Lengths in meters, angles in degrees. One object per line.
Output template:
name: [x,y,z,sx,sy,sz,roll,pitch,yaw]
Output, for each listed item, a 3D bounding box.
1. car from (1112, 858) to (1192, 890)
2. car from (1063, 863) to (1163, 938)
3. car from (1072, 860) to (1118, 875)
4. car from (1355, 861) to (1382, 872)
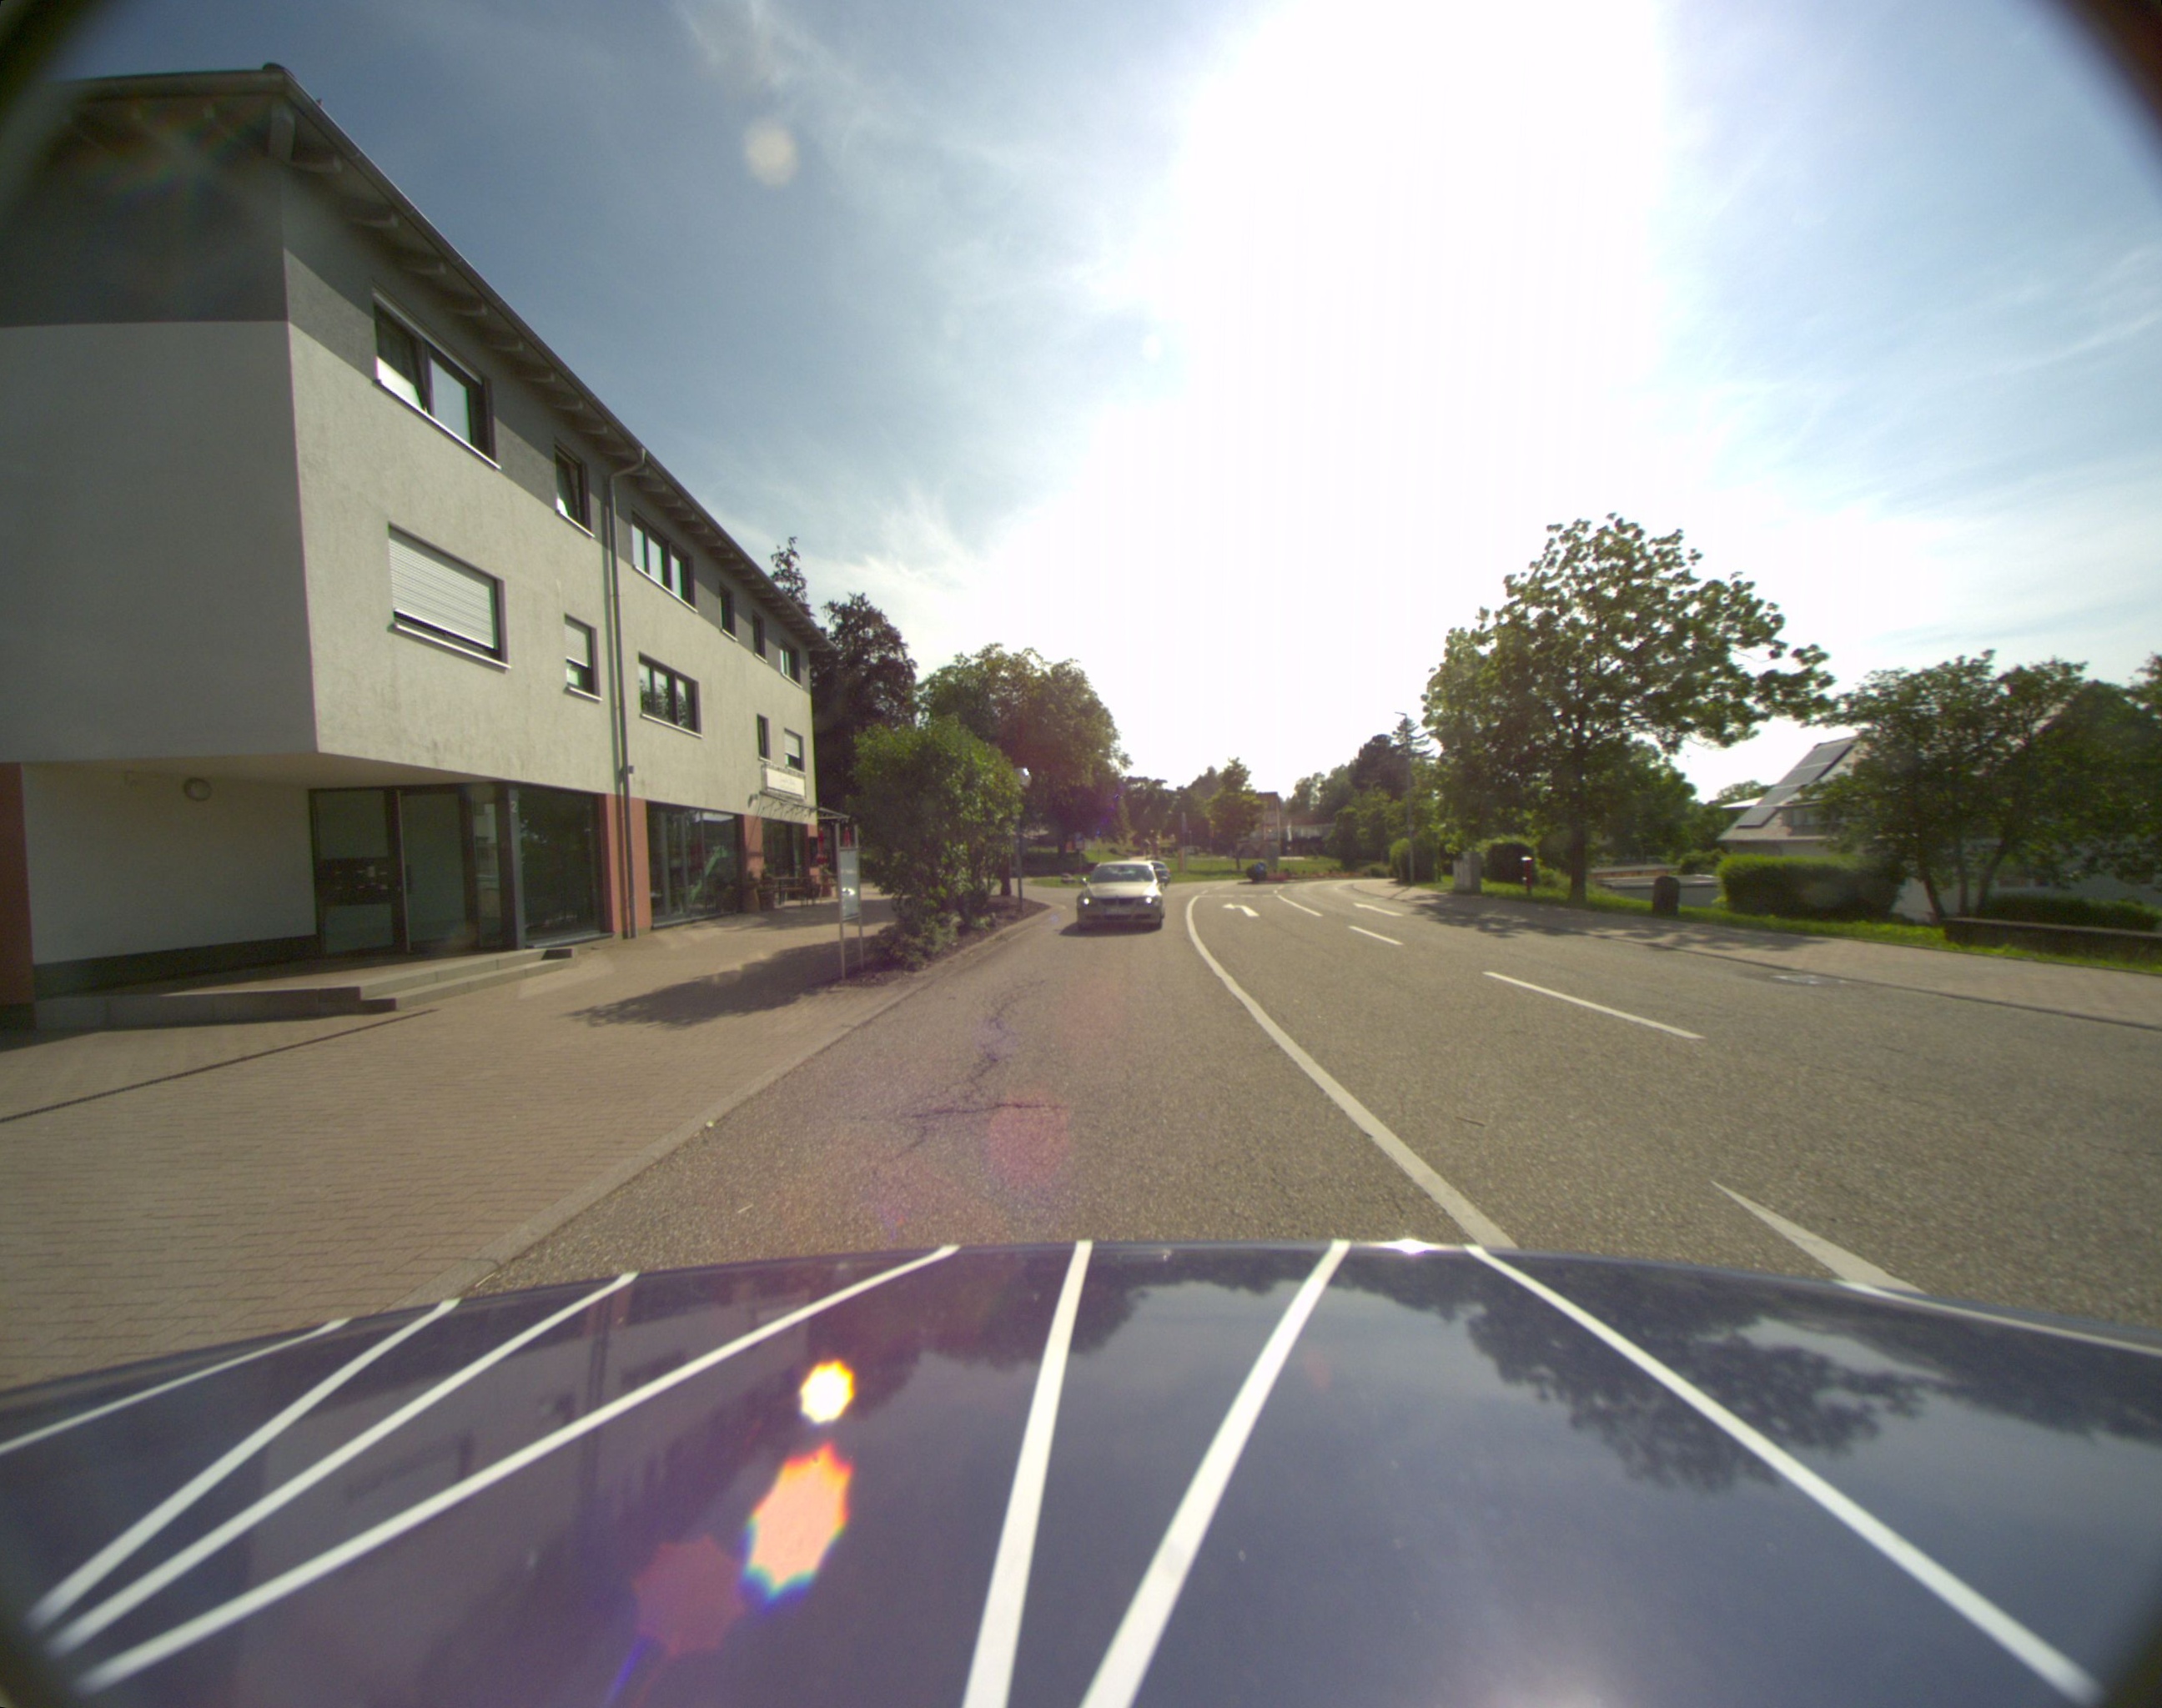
car: [3.720,1.014,39.397,4.009,1.499,1.898,1,2,-43]
car: [0.851,0.924,16.854,1.837,1.360,4.583,-1,0,7]
car: [1.393,1.340,74.629,4.255,1.420,1.706,0,0,31]
car: [39.718,1.697,105.007,1.716,1.396,3.306,0,2,-20]
